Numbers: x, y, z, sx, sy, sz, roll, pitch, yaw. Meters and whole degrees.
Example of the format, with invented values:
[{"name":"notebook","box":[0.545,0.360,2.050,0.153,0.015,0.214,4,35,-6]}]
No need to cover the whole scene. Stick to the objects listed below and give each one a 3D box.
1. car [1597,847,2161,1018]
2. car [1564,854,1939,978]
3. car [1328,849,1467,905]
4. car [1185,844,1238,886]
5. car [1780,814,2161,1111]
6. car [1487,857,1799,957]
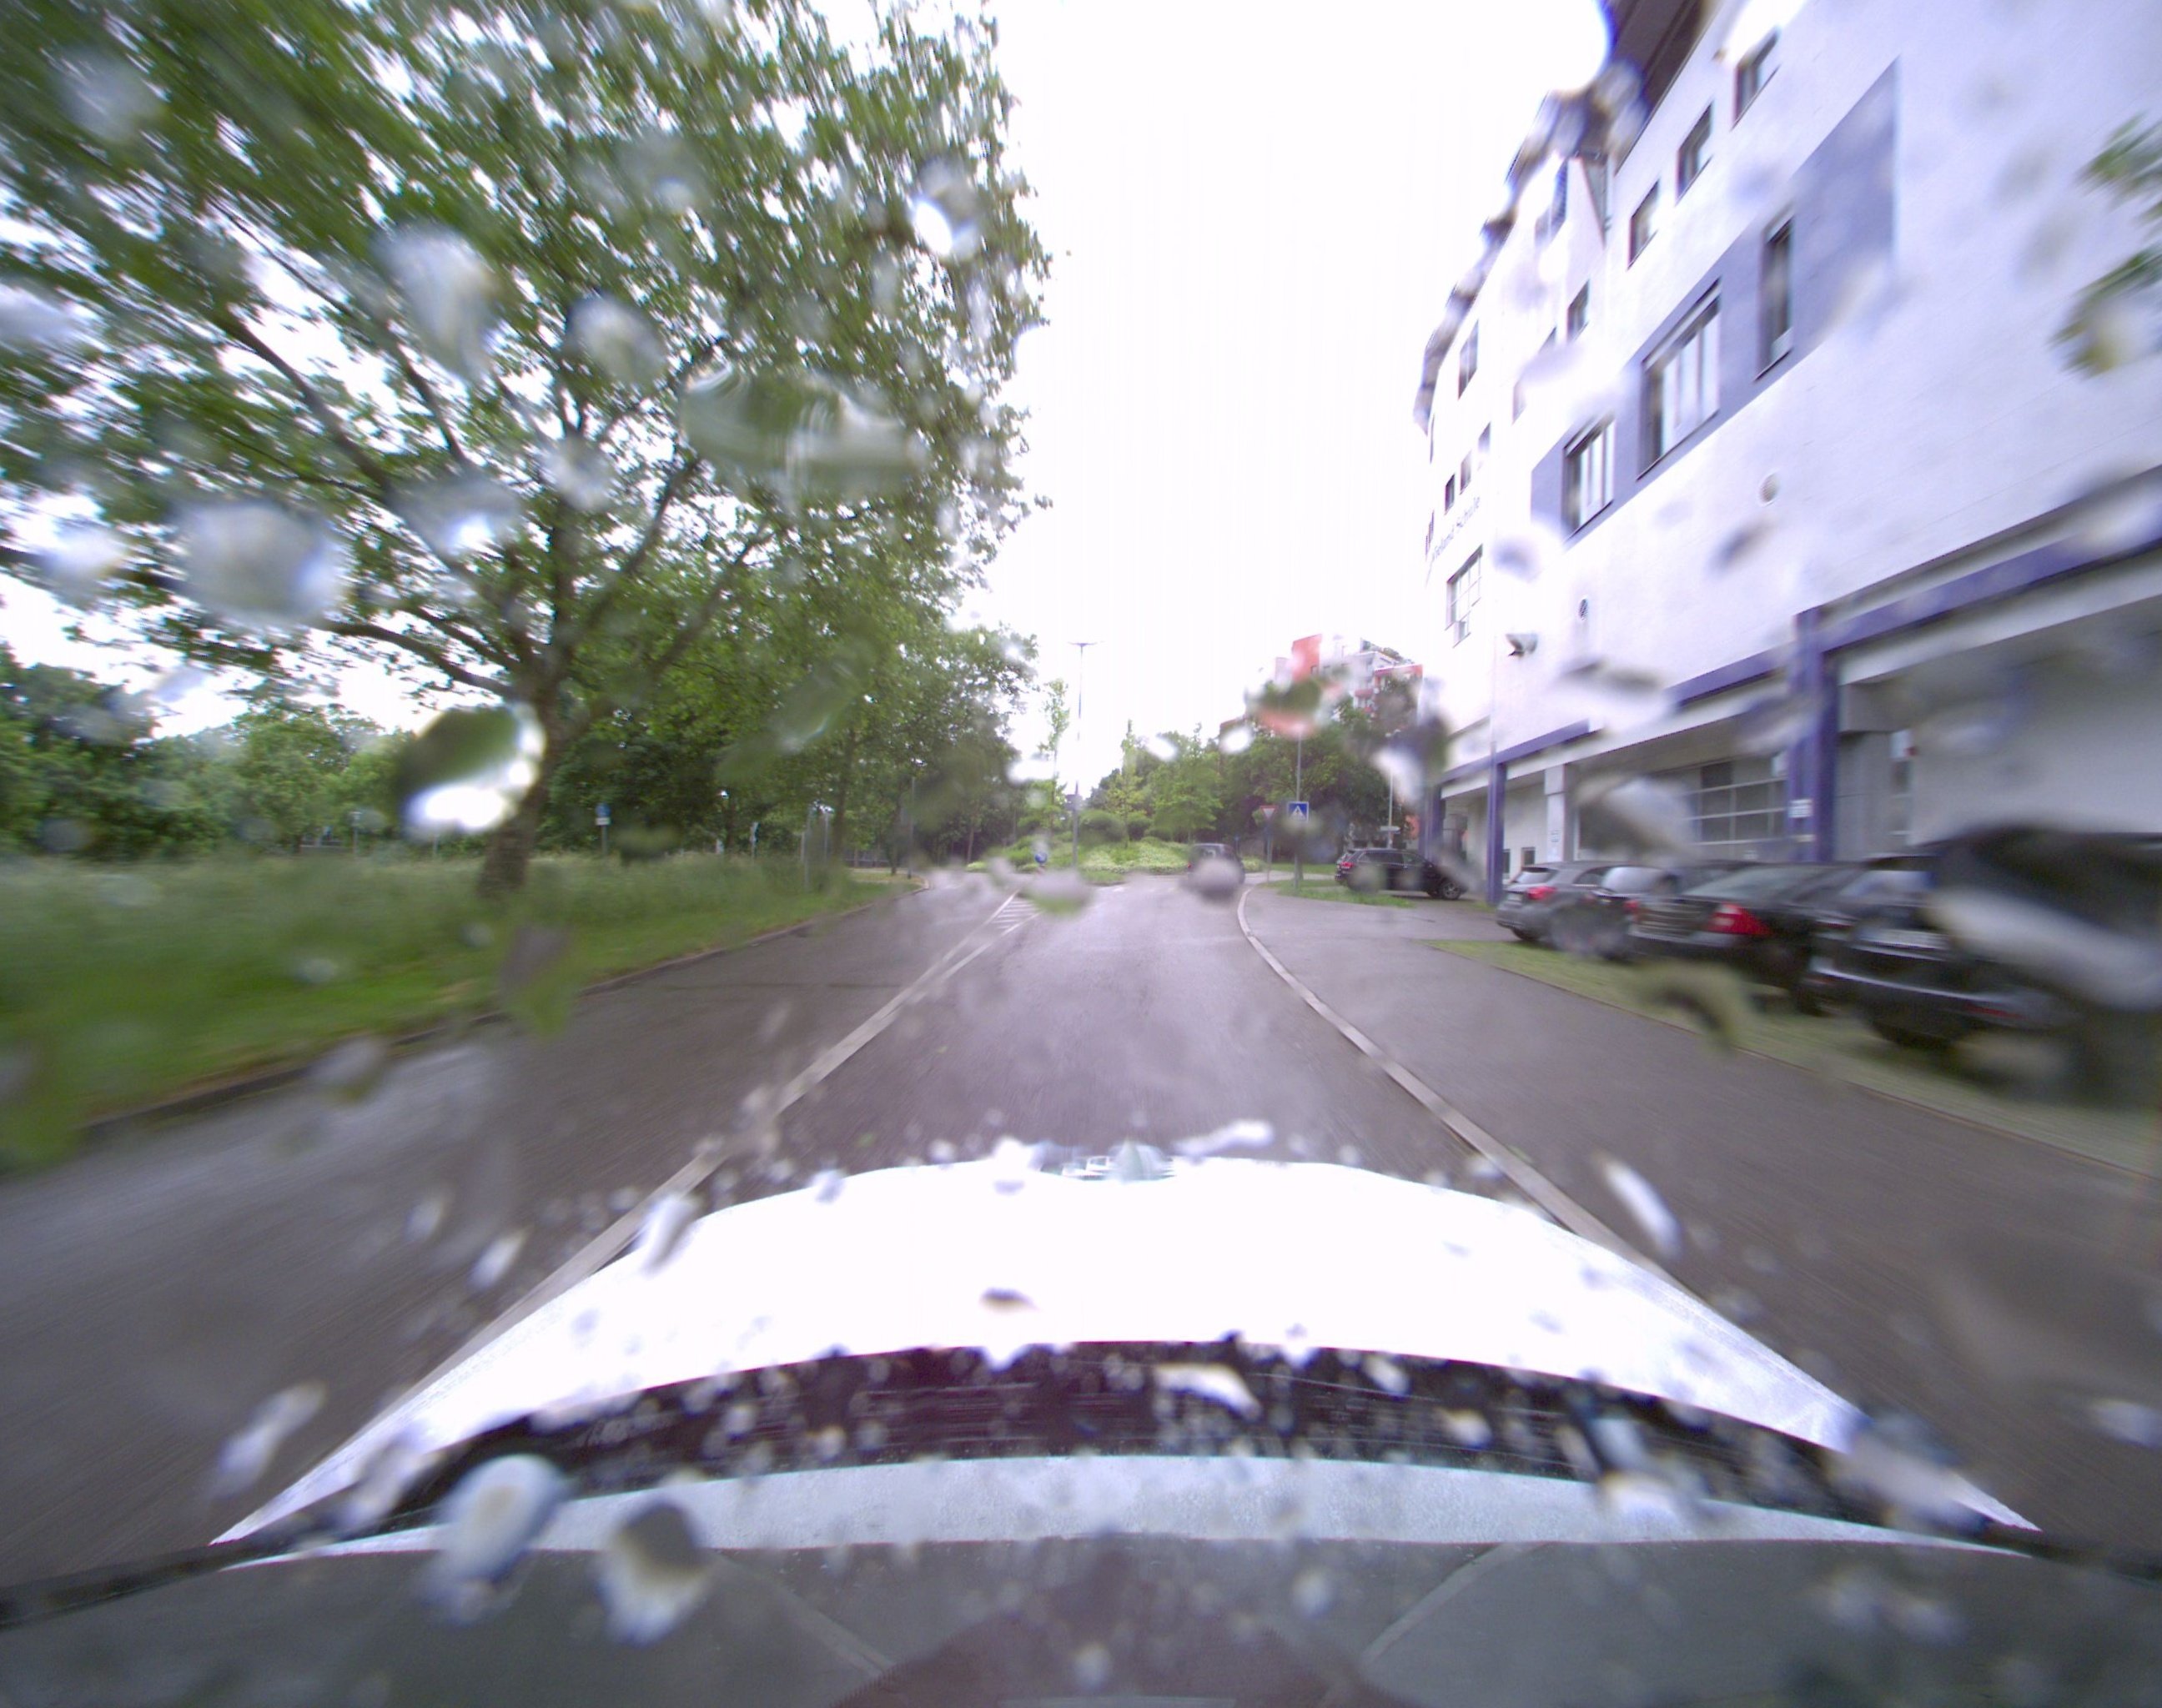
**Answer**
[{"name":"car","box":[7.842,0.733,8.303,4.092,1.478,1.722,1,-1,1]},{"name":"car","box":[8.807,0.770,10.957,3.600,1.453,1.722,1,-1,3]},{"name":"car","box":[11.563,0.807,29.992,4.356,1.758,1.832,3,2,5]},{"name":"car","box":[6.084,0.520,37.623,1.904,1.801,3.805,-1,-1,16]},{"name":"car","box":[7.717,0.639,5.495,4.454,1.680,1.768,1,1,1]},{"name":"car","box":[9.120,0.822,13.506,3.917,1.453,1.724,1,-1,7]}]
